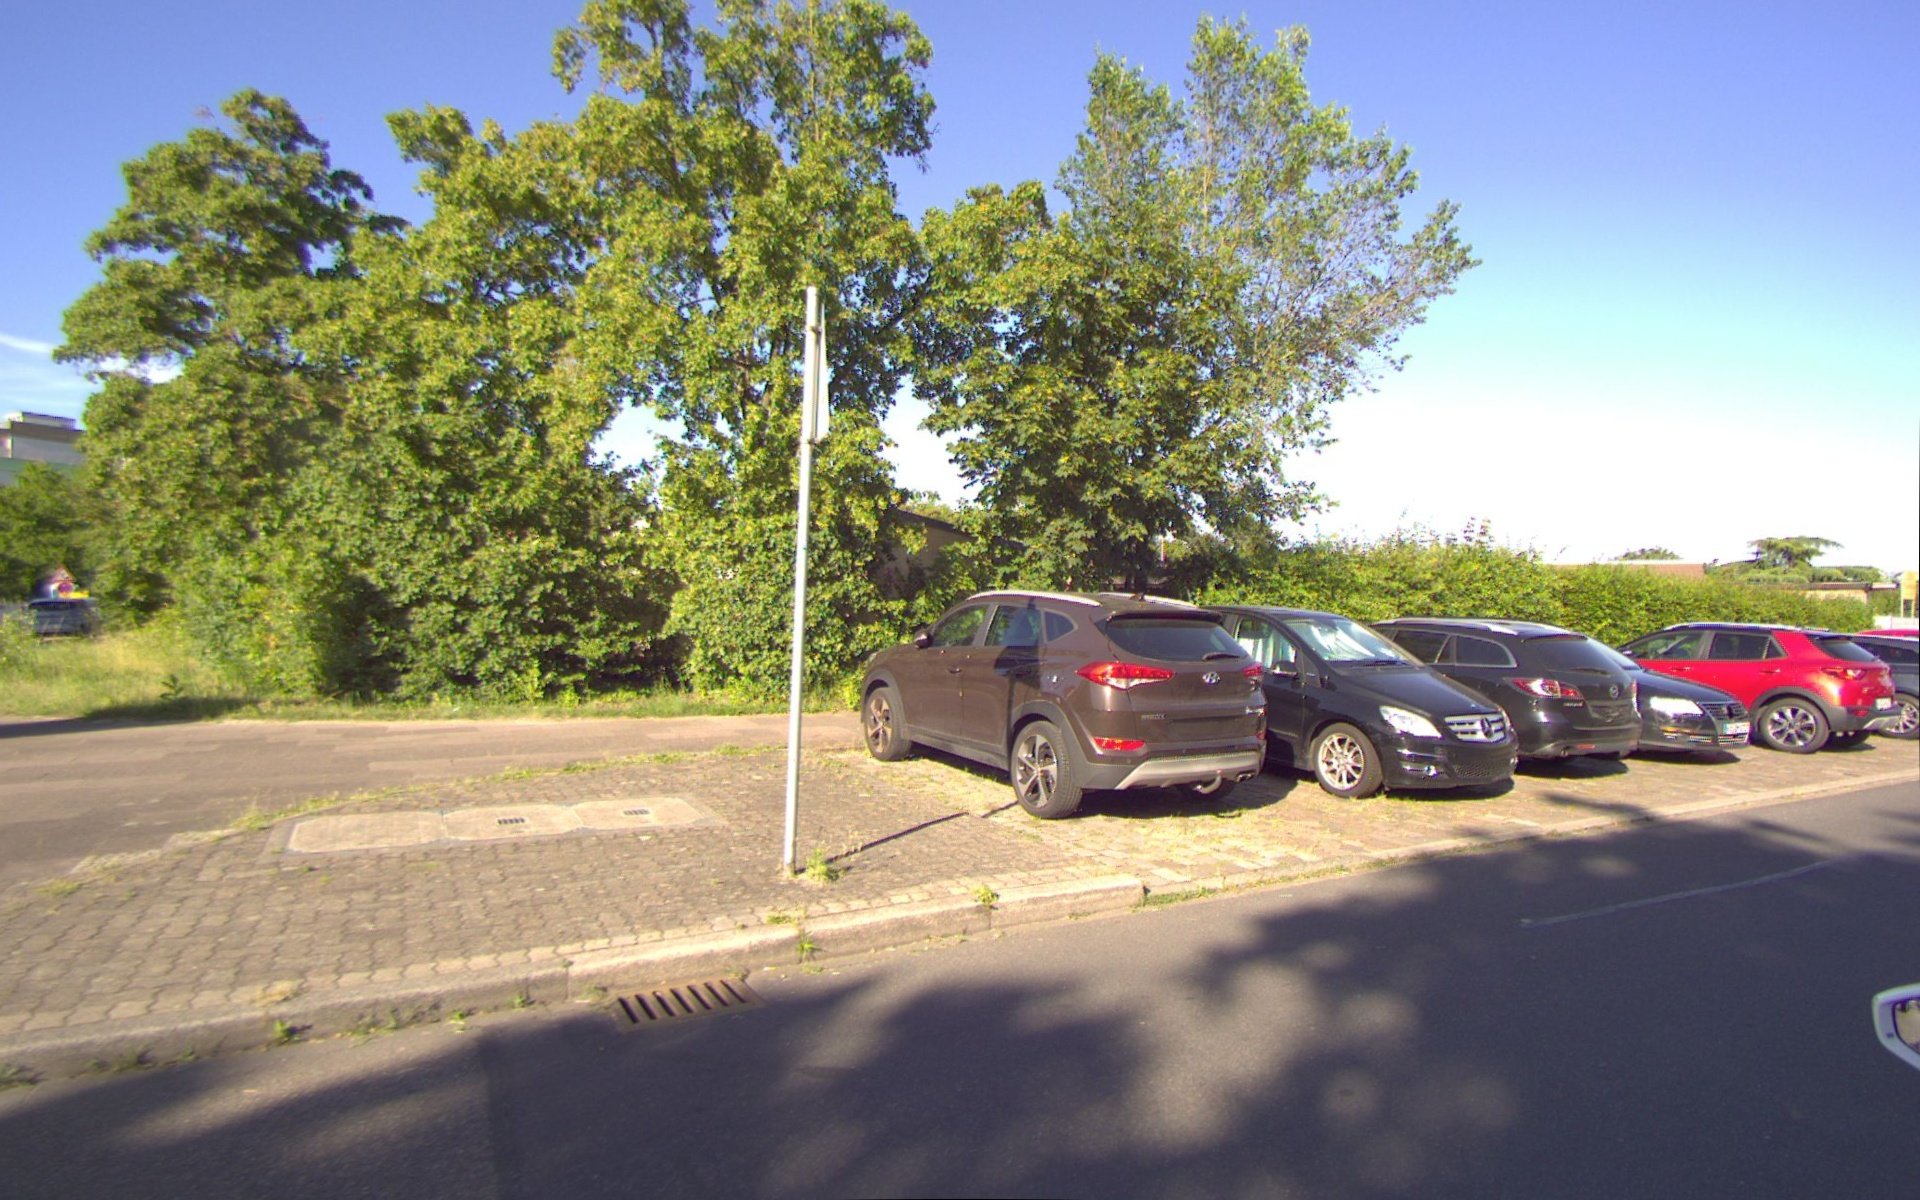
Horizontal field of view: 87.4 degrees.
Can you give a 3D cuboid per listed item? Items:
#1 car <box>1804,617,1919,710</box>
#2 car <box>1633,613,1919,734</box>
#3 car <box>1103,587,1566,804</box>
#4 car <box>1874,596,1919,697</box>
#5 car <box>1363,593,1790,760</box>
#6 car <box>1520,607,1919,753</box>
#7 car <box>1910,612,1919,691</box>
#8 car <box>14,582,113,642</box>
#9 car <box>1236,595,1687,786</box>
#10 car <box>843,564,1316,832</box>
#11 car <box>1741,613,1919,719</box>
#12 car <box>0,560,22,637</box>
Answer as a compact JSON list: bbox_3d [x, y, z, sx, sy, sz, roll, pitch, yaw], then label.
[{"bbox_3d":[18.112,1.209,18.429,1.830,1.588,3.584,1,2,-30],"label":"car"},{"bbox_3d":[13.411,1.081,15.660,1.727,1.499,4.522,1,2,-30],"label":"car"},{"bbox_3d":[3.405,0.751,9.898,1.811,1.553,3.965,3,1,-31],"label":"car"},{"bbox_3d":[21.053,1.054,19.491,1.977,2.003,4.455,3,1,-31],"label":"car"},{"bbox_3d":[7.282,0.794,12.295,1.885,1.533,3.997,3,1,-31],"label":"car"},{"bbox_3d":[10.092,0.944,13.645,1.769,1.499,3.968,1,2,-30],"label":"car"},{"bbox_3d":[23.017,1.255,21.045,1.862,1.728,4.130,3,1,-30],"label":"car"},{"bbox_3d":[-30.138,0.409,33.890,1.719,1.880,4.307,2,-1,-32],"label":"car"},{"bbox_3d":[5.242,0.828,11.065,1.792,1.533,4.070,3,1,-31],"label":"car"},{"bbox_3d":[0.729,0.606,8.706,1.826,1.678,4.163,3,1,-32],"label":"car"},{"bbox_3d":[15.953,1.120,17.222,1.859,1.588,3.584,1,2,-30],"label":"car"},{"bbox_3d":[-24.164,-0.052,23.983,1.719,1.880,4.307,2,-1,-32],"label":"car"}]
